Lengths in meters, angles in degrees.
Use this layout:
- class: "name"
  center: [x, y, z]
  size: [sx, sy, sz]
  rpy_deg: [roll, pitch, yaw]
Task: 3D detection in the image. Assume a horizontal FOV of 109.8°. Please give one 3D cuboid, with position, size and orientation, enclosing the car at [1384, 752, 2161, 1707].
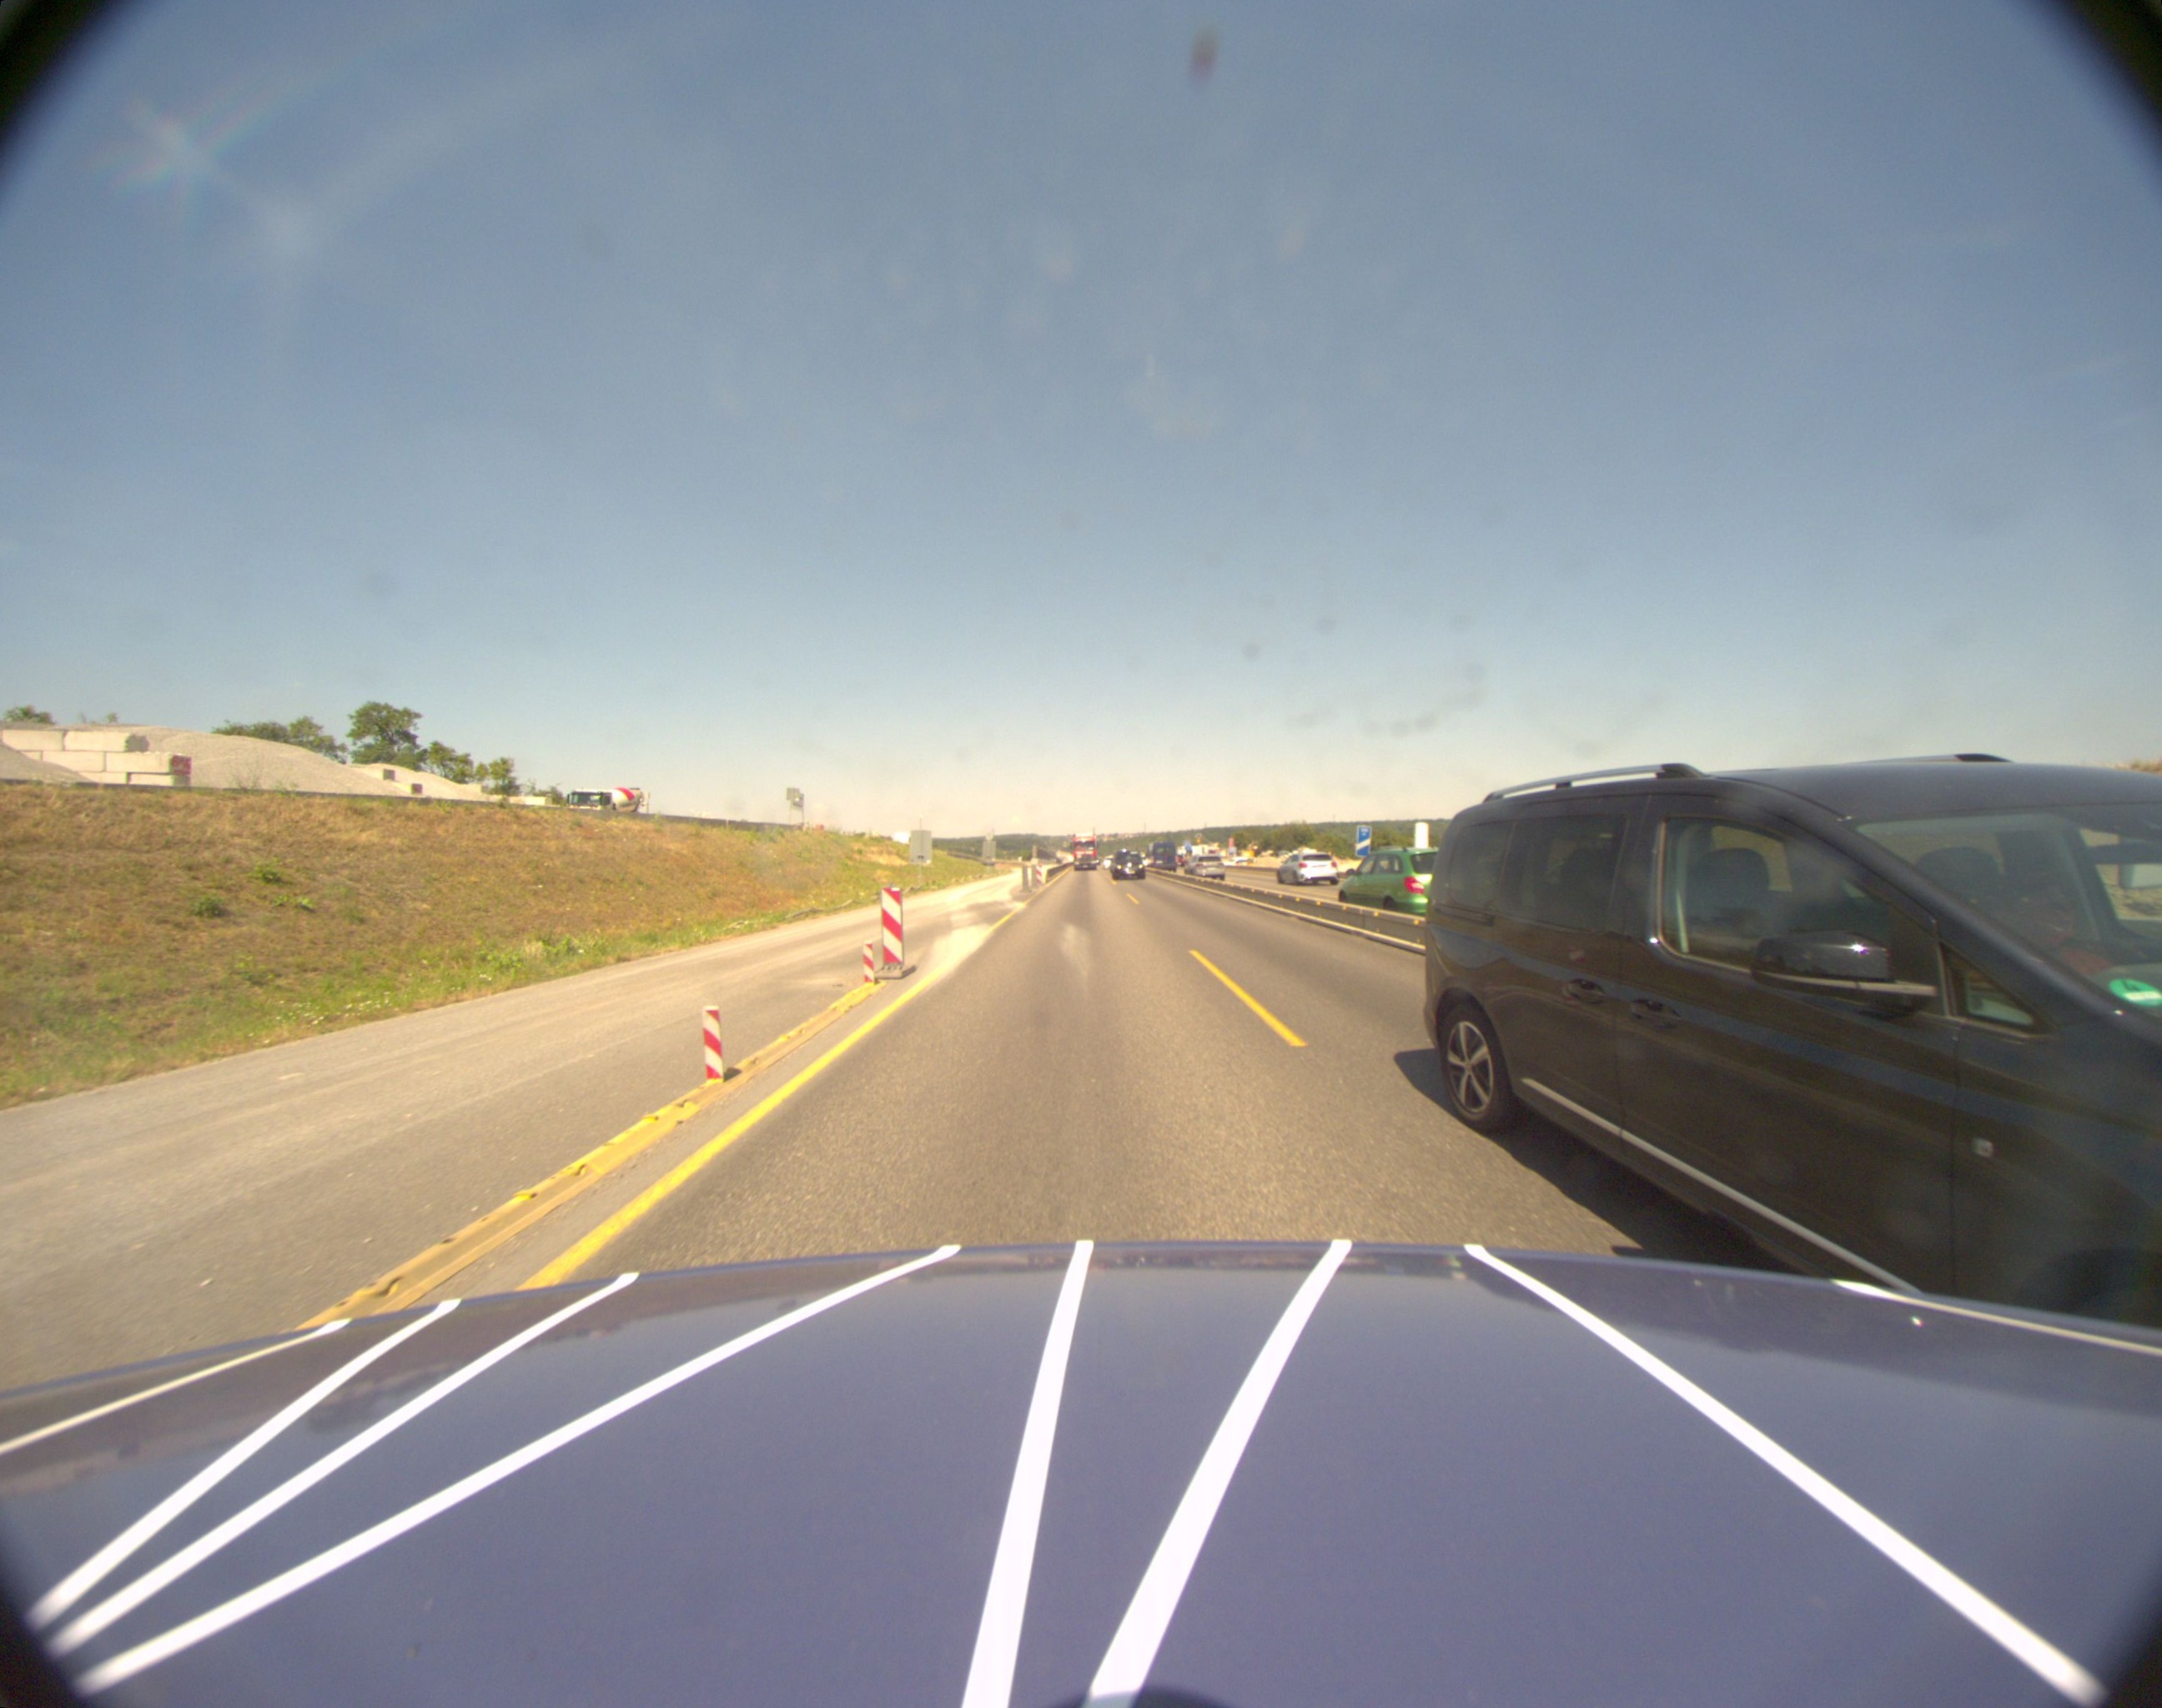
- class: "car"
  center: [2.870, 0.674, 2.484]
  size: [1.926, 1.779, 4.603]
  rpy_deg: [-2, 0, 1]

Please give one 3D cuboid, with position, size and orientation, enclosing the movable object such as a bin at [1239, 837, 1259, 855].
- class: "movable object such as a bin"
  center: [41.168, -1.887, 186.073]
  size: [2.926, 4.304, 9.341]
  rpy_deg: [-1, 0, 23]

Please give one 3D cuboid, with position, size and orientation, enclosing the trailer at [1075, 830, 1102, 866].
- class: "trailer"
  center: [0.954, -0.665, 89.975]
  size: [2.701, 3.852, 12.424]
  rpy_deg: [-1, 0, 3]

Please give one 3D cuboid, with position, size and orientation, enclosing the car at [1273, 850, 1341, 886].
- class: "car"
  center: [9.910, 0.587, 33.601]
  size: [1.695, 1.425, 4.448]
  rpy_deg: [-2, 0, 1]

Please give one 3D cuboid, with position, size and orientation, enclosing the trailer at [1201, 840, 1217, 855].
- class: "trailer"
  center: [36.432, -1.707, 215.387]
  size: [2.763, 4.090, 13.994]
  rpy_deg: [-1, 0, 17]

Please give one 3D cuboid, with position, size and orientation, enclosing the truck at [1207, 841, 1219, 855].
- class: "truck"
  center: [38.511, -1.773, 222.232]
  size: [2.705, 4.038, 5.508]
  rpy_deg: [-1, 0, 17]

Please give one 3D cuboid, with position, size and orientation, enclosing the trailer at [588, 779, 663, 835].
- class: "trailer"
  center: [-37.140, -3.748, 62.196]
  size: [2.765, 4.090, 6.740]
  rpy_deg: [-1, 0, -8]

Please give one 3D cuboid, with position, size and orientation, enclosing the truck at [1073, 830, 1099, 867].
- class: "truck"
  center: [0.591, -0.588, 83.316]
  size: [2.626, 3.880, 4.934]
  rpy_deg: [-1, 0, 3]

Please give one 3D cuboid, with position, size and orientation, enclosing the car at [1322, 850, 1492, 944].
- class: "car"
  center: [6.222, 0.729, 15.047]
  size: [1.606, 1.570, 4.167]
  rpy_deg: [-1, 0, 1]

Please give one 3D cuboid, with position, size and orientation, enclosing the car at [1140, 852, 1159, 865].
- class: "car"
  center: [7.720, 0.508, 85.770]
  size: [1.682, 1.433, 4.671]
  rpy_deg: [-1, 0, -1]

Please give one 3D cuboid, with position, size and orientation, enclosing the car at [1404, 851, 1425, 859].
- class: "car"
  center: [58.576, 0.141, 133.633]
  size: [1.616, 1.401, 4.445]
  rpy_deg: [-1, 0, -2]

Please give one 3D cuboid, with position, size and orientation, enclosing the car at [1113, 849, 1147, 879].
- class: "car"
  center: [3.050, 0.583, 48.003]
  size: [1.799, 1.776, 3.999]
  rpy_deg: [-1, 0, -1]

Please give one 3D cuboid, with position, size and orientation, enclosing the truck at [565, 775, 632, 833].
- class: "truck"
  center: [-36.487, -3.720, 57.594]
  size: [2.754, 4.072, 4.097]
  rpy_deg: [-1, 0, -8]

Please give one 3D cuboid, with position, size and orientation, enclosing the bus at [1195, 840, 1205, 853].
- class: "bus"
  center: [29.466, -1.938, 187.888]
  size: [2.353, 3.107, 7.233]
  rpy_deg: [-1, 0, 8]

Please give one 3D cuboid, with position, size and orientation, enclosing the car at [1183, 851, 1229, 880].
- class: "car"
  center: [6.823, 0.600, 41.755]
  size: [1.791, 1.467, 4.524]
  rpy_deg: [-2, 0, 1]

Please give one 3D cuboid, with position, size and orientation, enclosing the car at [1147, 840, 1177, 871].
- class: "car"
  center: [6.619, 0.100, 62.640]
  size: [1.960, 2.453, 5.357]
  rpy_deg: [-1, 0, 1]
